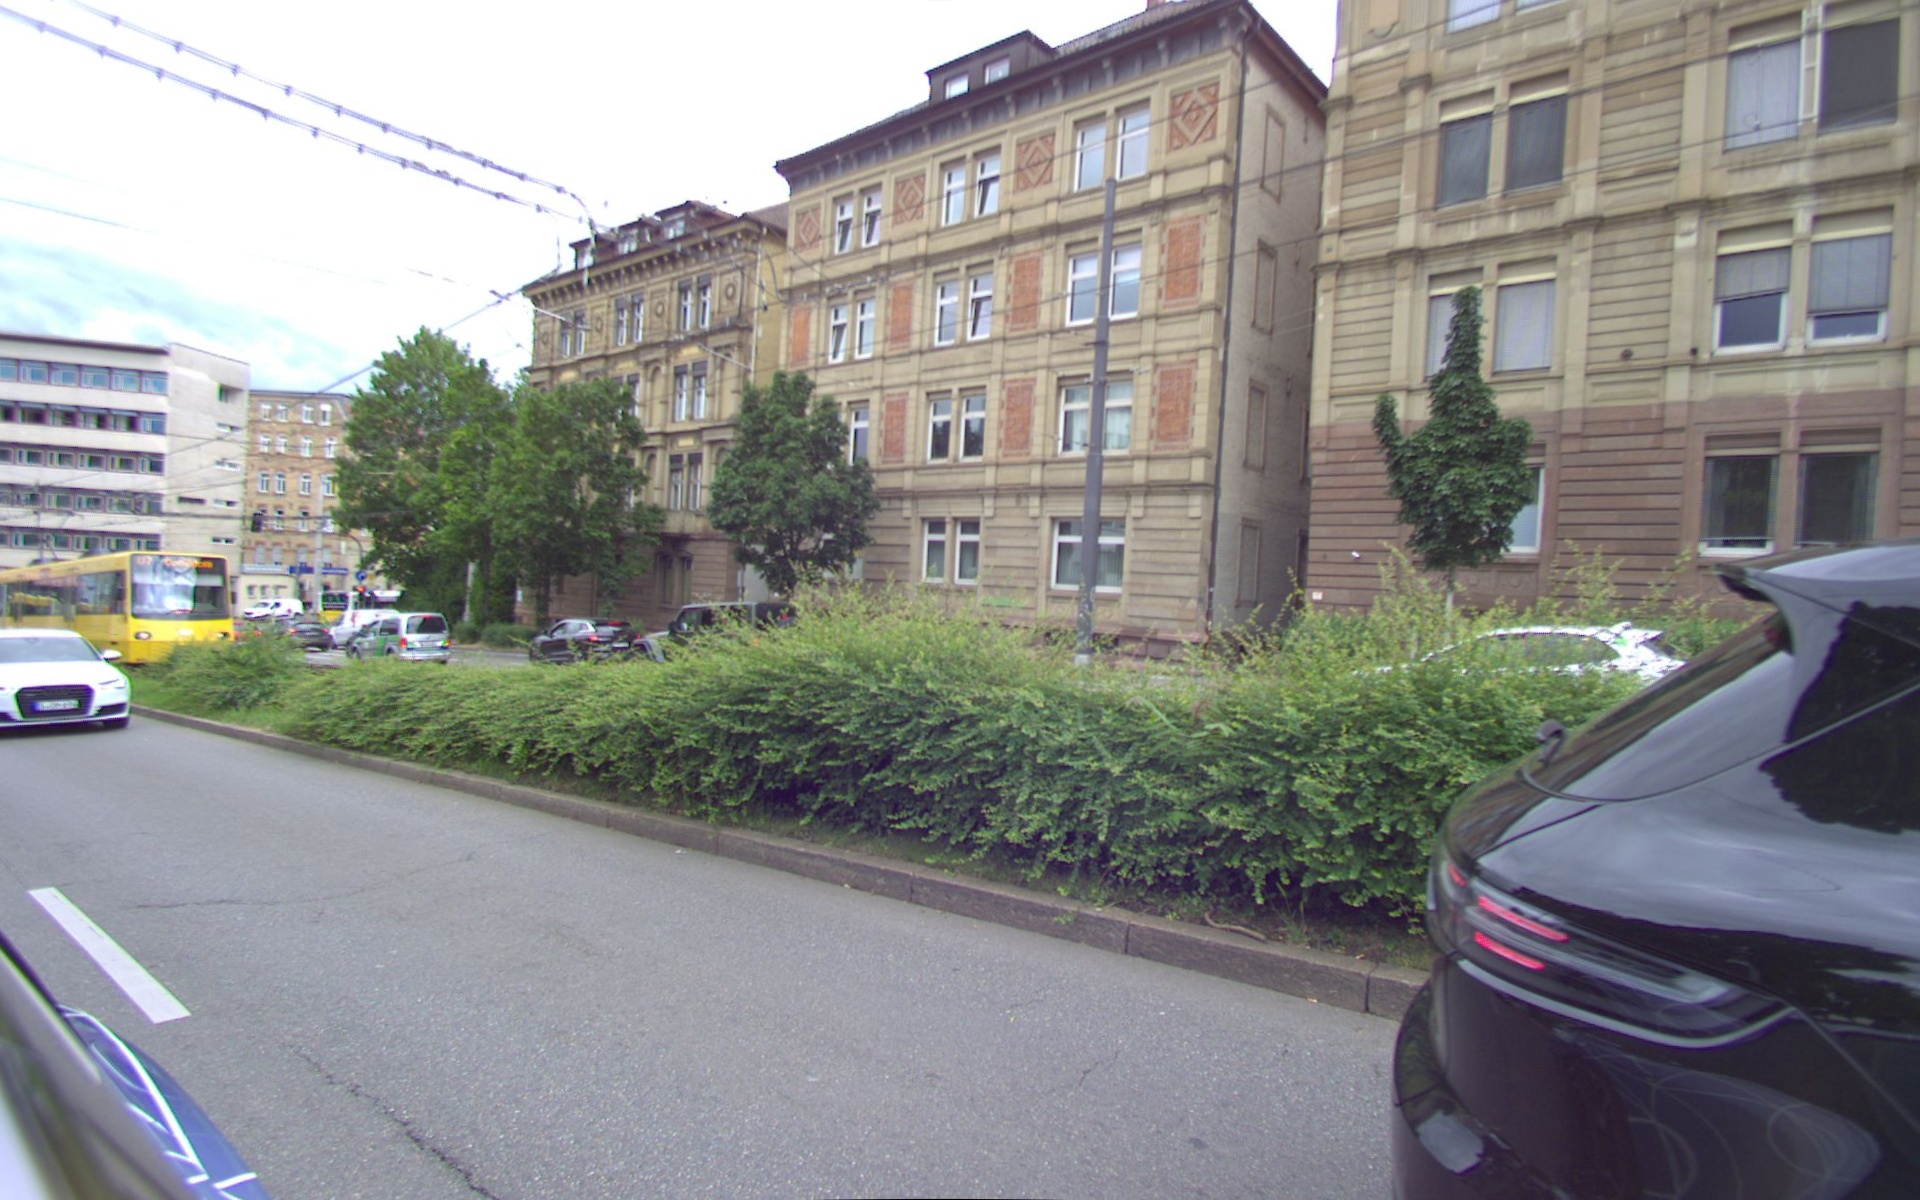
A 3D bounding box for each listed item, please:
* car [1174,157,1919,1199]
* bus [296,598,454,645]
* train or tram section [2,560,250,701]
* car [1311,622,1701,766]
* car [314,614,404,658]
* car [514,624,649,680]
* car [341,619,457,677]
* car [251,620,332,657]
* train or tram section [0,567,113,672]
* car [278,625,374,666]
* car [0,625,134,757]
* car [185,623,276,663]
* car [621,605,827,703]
[{"bbox_3d":[2.747,0.491,0.571,4.777,1.697,2.007,1,0,40],"label":"car"},{"bbox_3d":[-40.993,1.406,71.633,3.350,3.052,11.521,-1,0,8],"label":"bus"},{"bbox_3d":[-26.911,0.729,32.172,14.453,3.691,2.855,0,1,38],"label":"train or tram section"},{"bbox_3d":[6.719,1.041,12.680,4.062,1.499,1.723,-1,-1,39],"label":"car"},{"bbox_3d":[-28.748,1.672,48.329,4.985,1.863,1.975,0,2,38],"label":"car"},{"bbox_3d":[-11.515,1.522,30.644,4.433,1.566,1.846,-2,-2,39],"label":"car"},{"bbox_3d":[-18.765,1.550,33.787,4.512,1.801,1.861,-1,-1,39],"label":"car"},{"bbox_3d":[-30.665,1.746,46.400,4.398,1.437,1.727,1,2,37],"label":"car"},{"bbox_3d":[-38.737,0.659,40.289,14.169,3.691,2.862,0,1,29],"label":"train or tram section"},{"bbox_3d":[-25.315,1.842,40.330,4.942,1.461,1.801,-4,-2,40],"label":"car"},{"bbox_3d":[-13.622,1.215,14.724,4.531,1.486,1.872,1,2,43],"label":"car"},{"bbox_3d":[-32.385,1.866,44.870,4.397,1.530,1.976,0,2,36],"label":"car"},{"bbox_3d":[-5.158,1.099,21.783,4.637,1.890,1.881,-1,-2,39],"label":"car"}]
